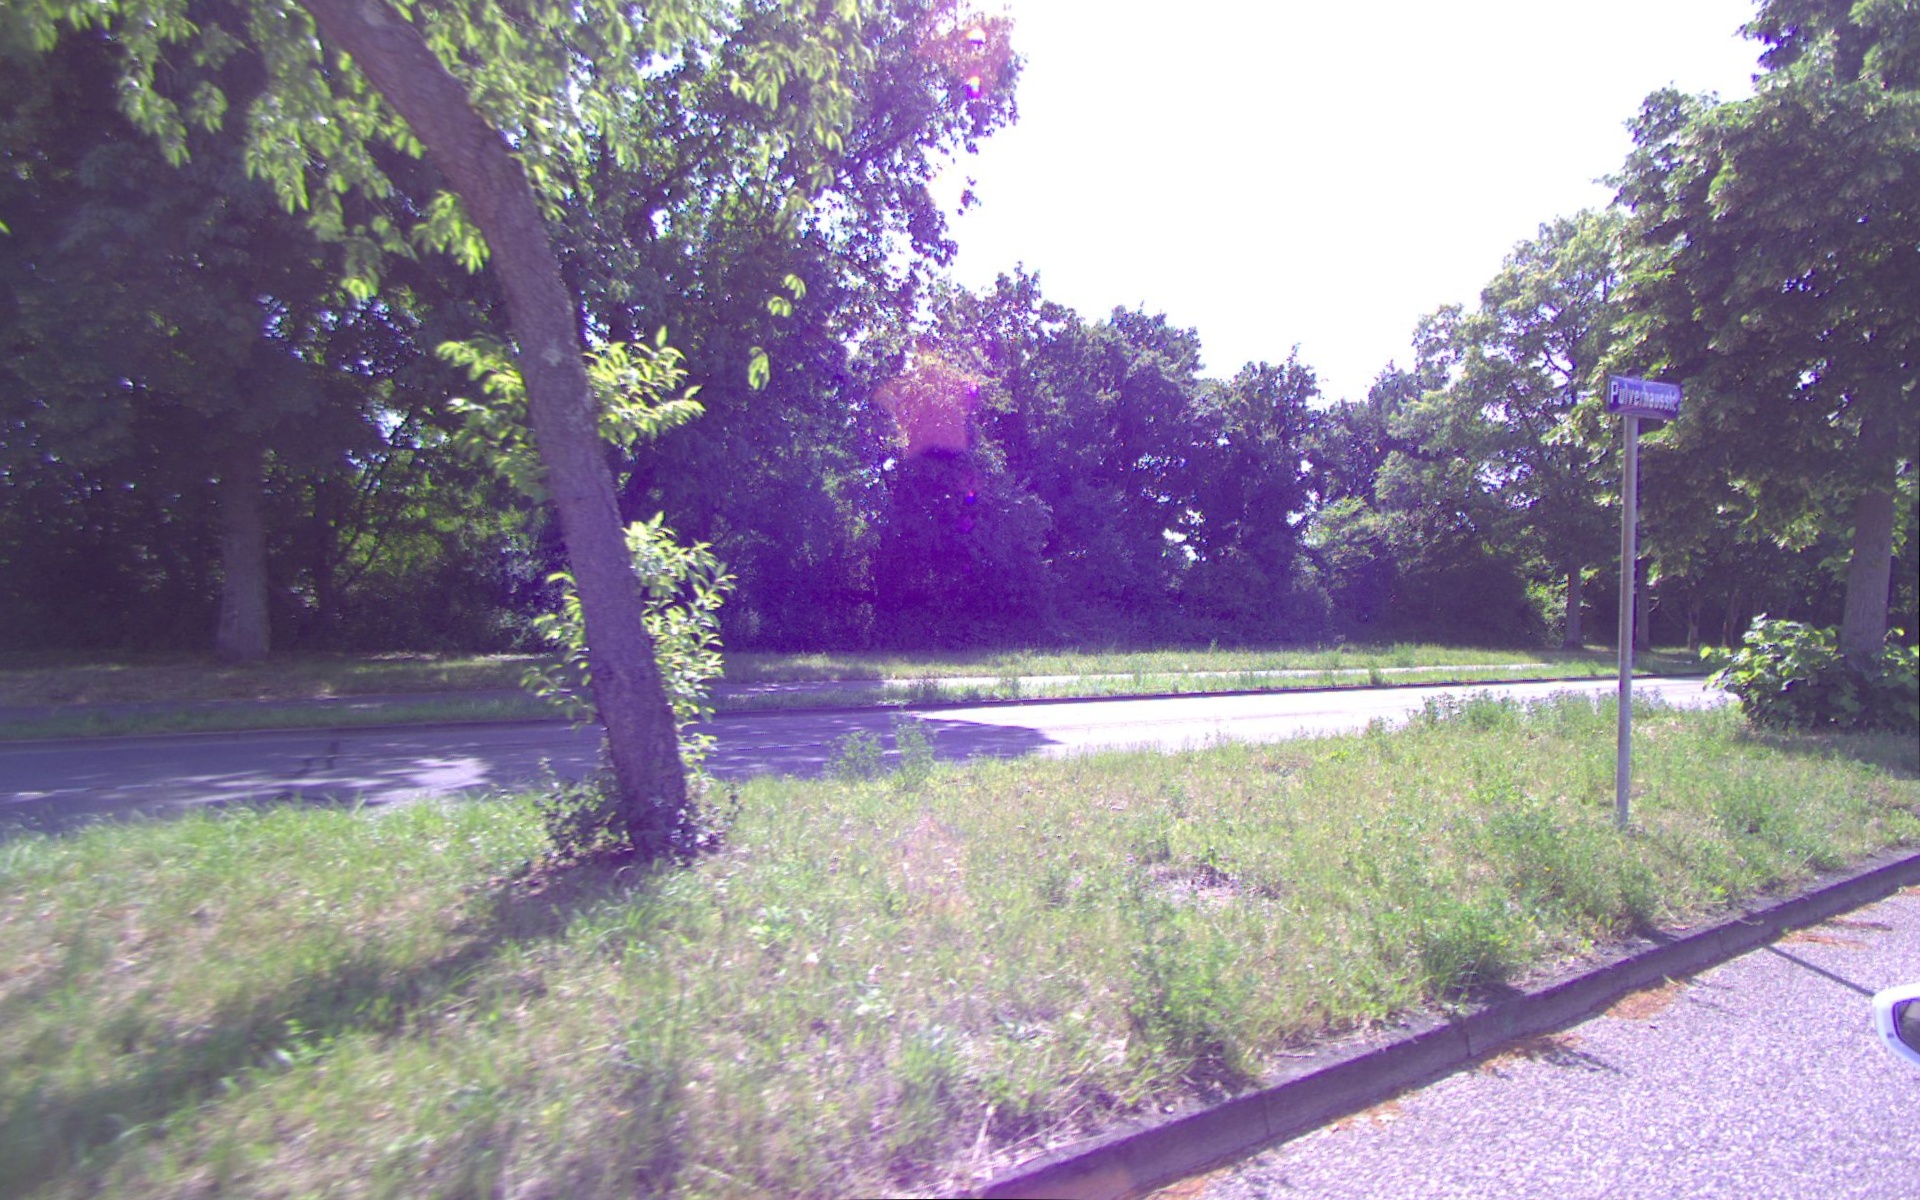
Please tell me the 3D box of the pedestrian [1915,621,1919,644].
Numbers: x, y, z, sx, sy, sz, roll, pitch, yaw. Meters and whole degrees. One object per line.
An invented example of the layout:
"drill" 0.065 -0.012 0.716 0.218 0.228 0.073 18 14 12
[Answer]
"pedestrian" 71.645 2.425 74.764 0.648 1.652 0.640 1 1 -31
